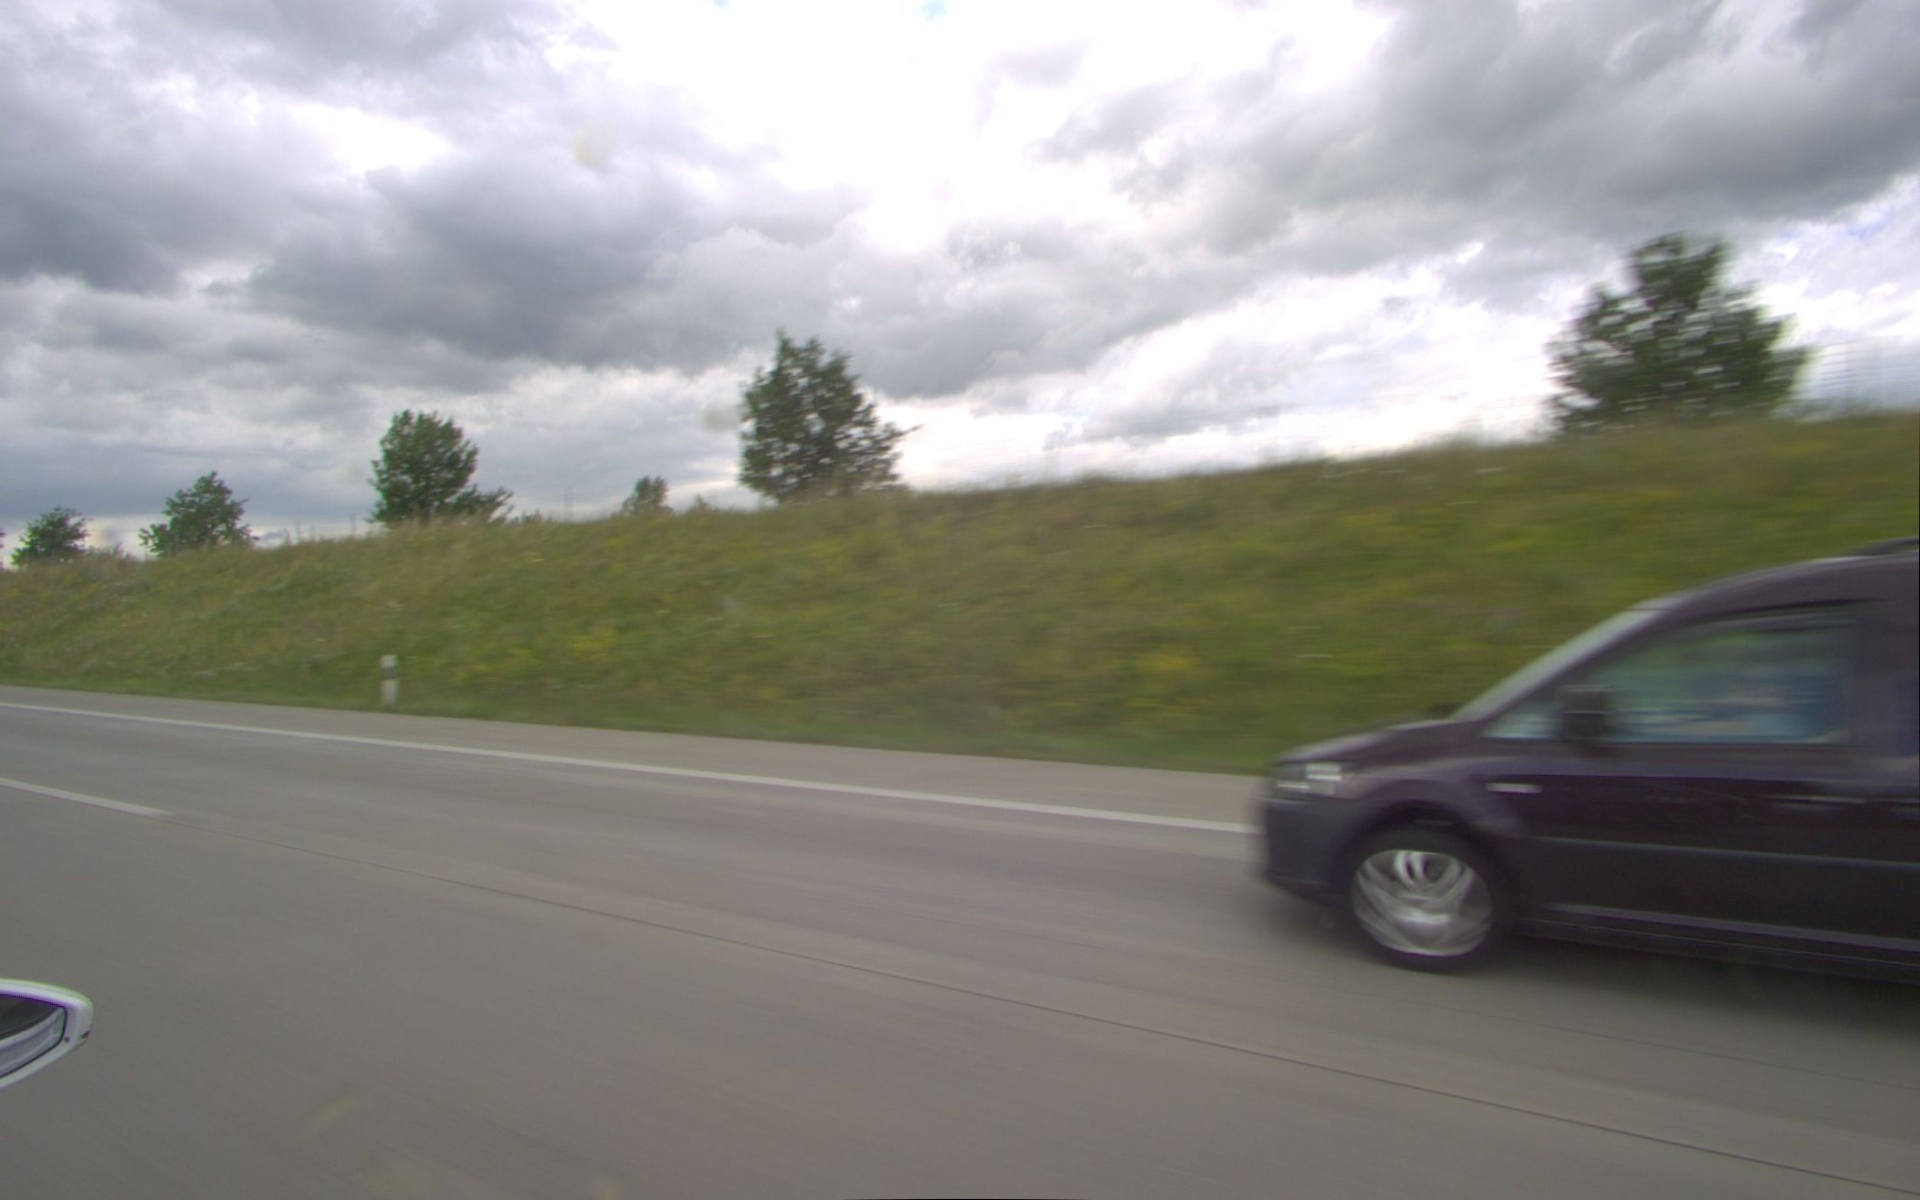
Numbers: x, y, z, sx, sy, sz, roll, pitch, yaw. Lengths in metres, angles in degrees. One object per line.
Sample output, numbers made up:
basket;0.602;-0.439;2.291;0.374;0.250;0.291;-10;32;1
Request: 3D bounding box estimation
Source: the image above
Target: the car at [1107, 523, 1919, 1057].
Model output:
car;3.345;0.685;4.542;4.958;1.832;1.936;-1;-2;31
